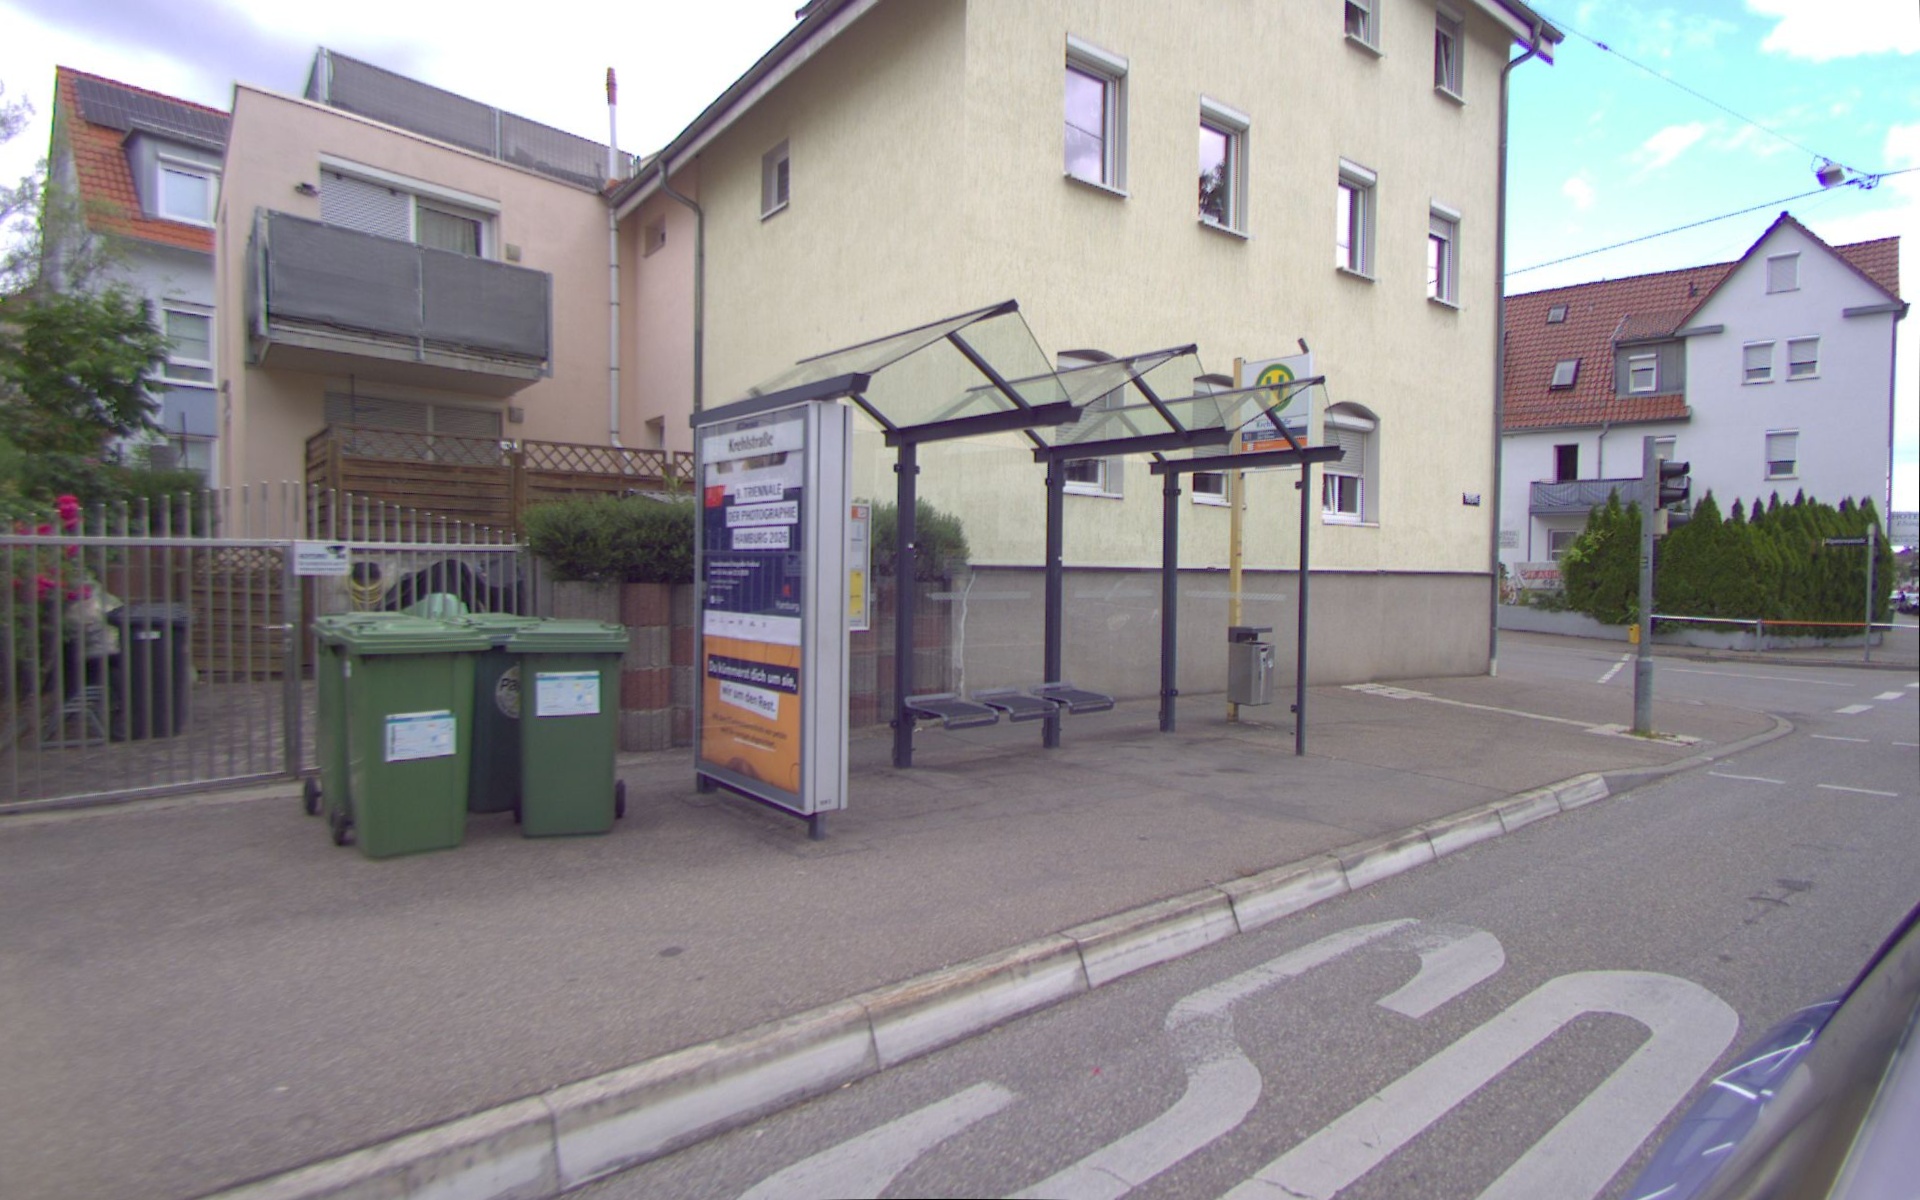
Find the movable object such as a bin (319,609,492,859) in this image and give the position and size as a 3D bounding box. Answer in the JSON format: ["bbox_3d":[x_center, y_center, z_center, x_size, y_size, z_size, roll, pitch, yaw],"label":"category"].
[{"bbox_3d":[-2.652,0.588,4.836,0.576,1.059,0.636,-1,1,-44],"label":"movable object such as a bin"}]

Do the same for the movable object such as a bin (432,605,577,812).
[{"bbox_3d":[-2.613,0.581,5.803,0.576,1.059,0.637,-1,3,-44],"label":"movable object such as a bin"}]

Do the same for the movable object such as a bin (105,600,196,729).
[{"bbox_3d":[-6.425,0.487,8.034,0.545,0.949,0.585,-1,2,-40],"label":"movable object such as a bin"}]

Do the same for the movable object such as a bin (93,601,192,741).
[{"bbox_3d":[-6.054,0.498,7.500,0.545,0.949,0.585,-1,2,-40],"label":"movable object such as a bin"}]

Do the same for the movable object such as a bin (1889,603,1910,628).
[{"bbox_3d":[36.400,0.584,39.200,0.564,0.914,0.511,4,3,44],"label":"movable object such as a bin"}]

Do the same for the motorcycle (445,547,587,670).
[{"bbox_3d":[-4.669,0.049,10.567,0.685,1.153,1.952,0,2,-45],"label":"motorcycle"}]

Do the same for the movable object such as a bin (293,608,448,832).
[{"bbox_3d":[-3.140,0.591,5.386,0.576,1.059,0.637,-1,3,-44],"label":"movable object such as a bin"}]

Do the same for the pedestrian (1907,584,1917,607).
[{"bbox_3d":[71.906,-0.350,76.448,0.496,1.775,0.444,3,2,44],"label":"pedestrian"}]

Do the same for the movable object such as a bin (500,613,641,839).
[{"bbox_3d":[-1.986,0.608,5.225,0.579,1.059,0.639,0,1,-12],"label":"movable object such as a bin"}]

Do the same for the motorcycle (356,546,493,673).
[{"bbox_3d":[-5.482,0.051,10.302,0.685,1.153,1.952,0,2,-45],"label":"motorcycle"}]

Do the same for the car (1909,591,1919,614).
[{"bbox_3d":[69.827,0.174,72.948,1.839,1.538,3.941,1,1,41],"label":"car"}]

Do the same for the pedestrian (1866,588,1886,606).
[{"bbox_3d":[70.123,-0.251,77.501,0.654,1.295,0.984,0,2,-35],"label":"pedestrian"}]
